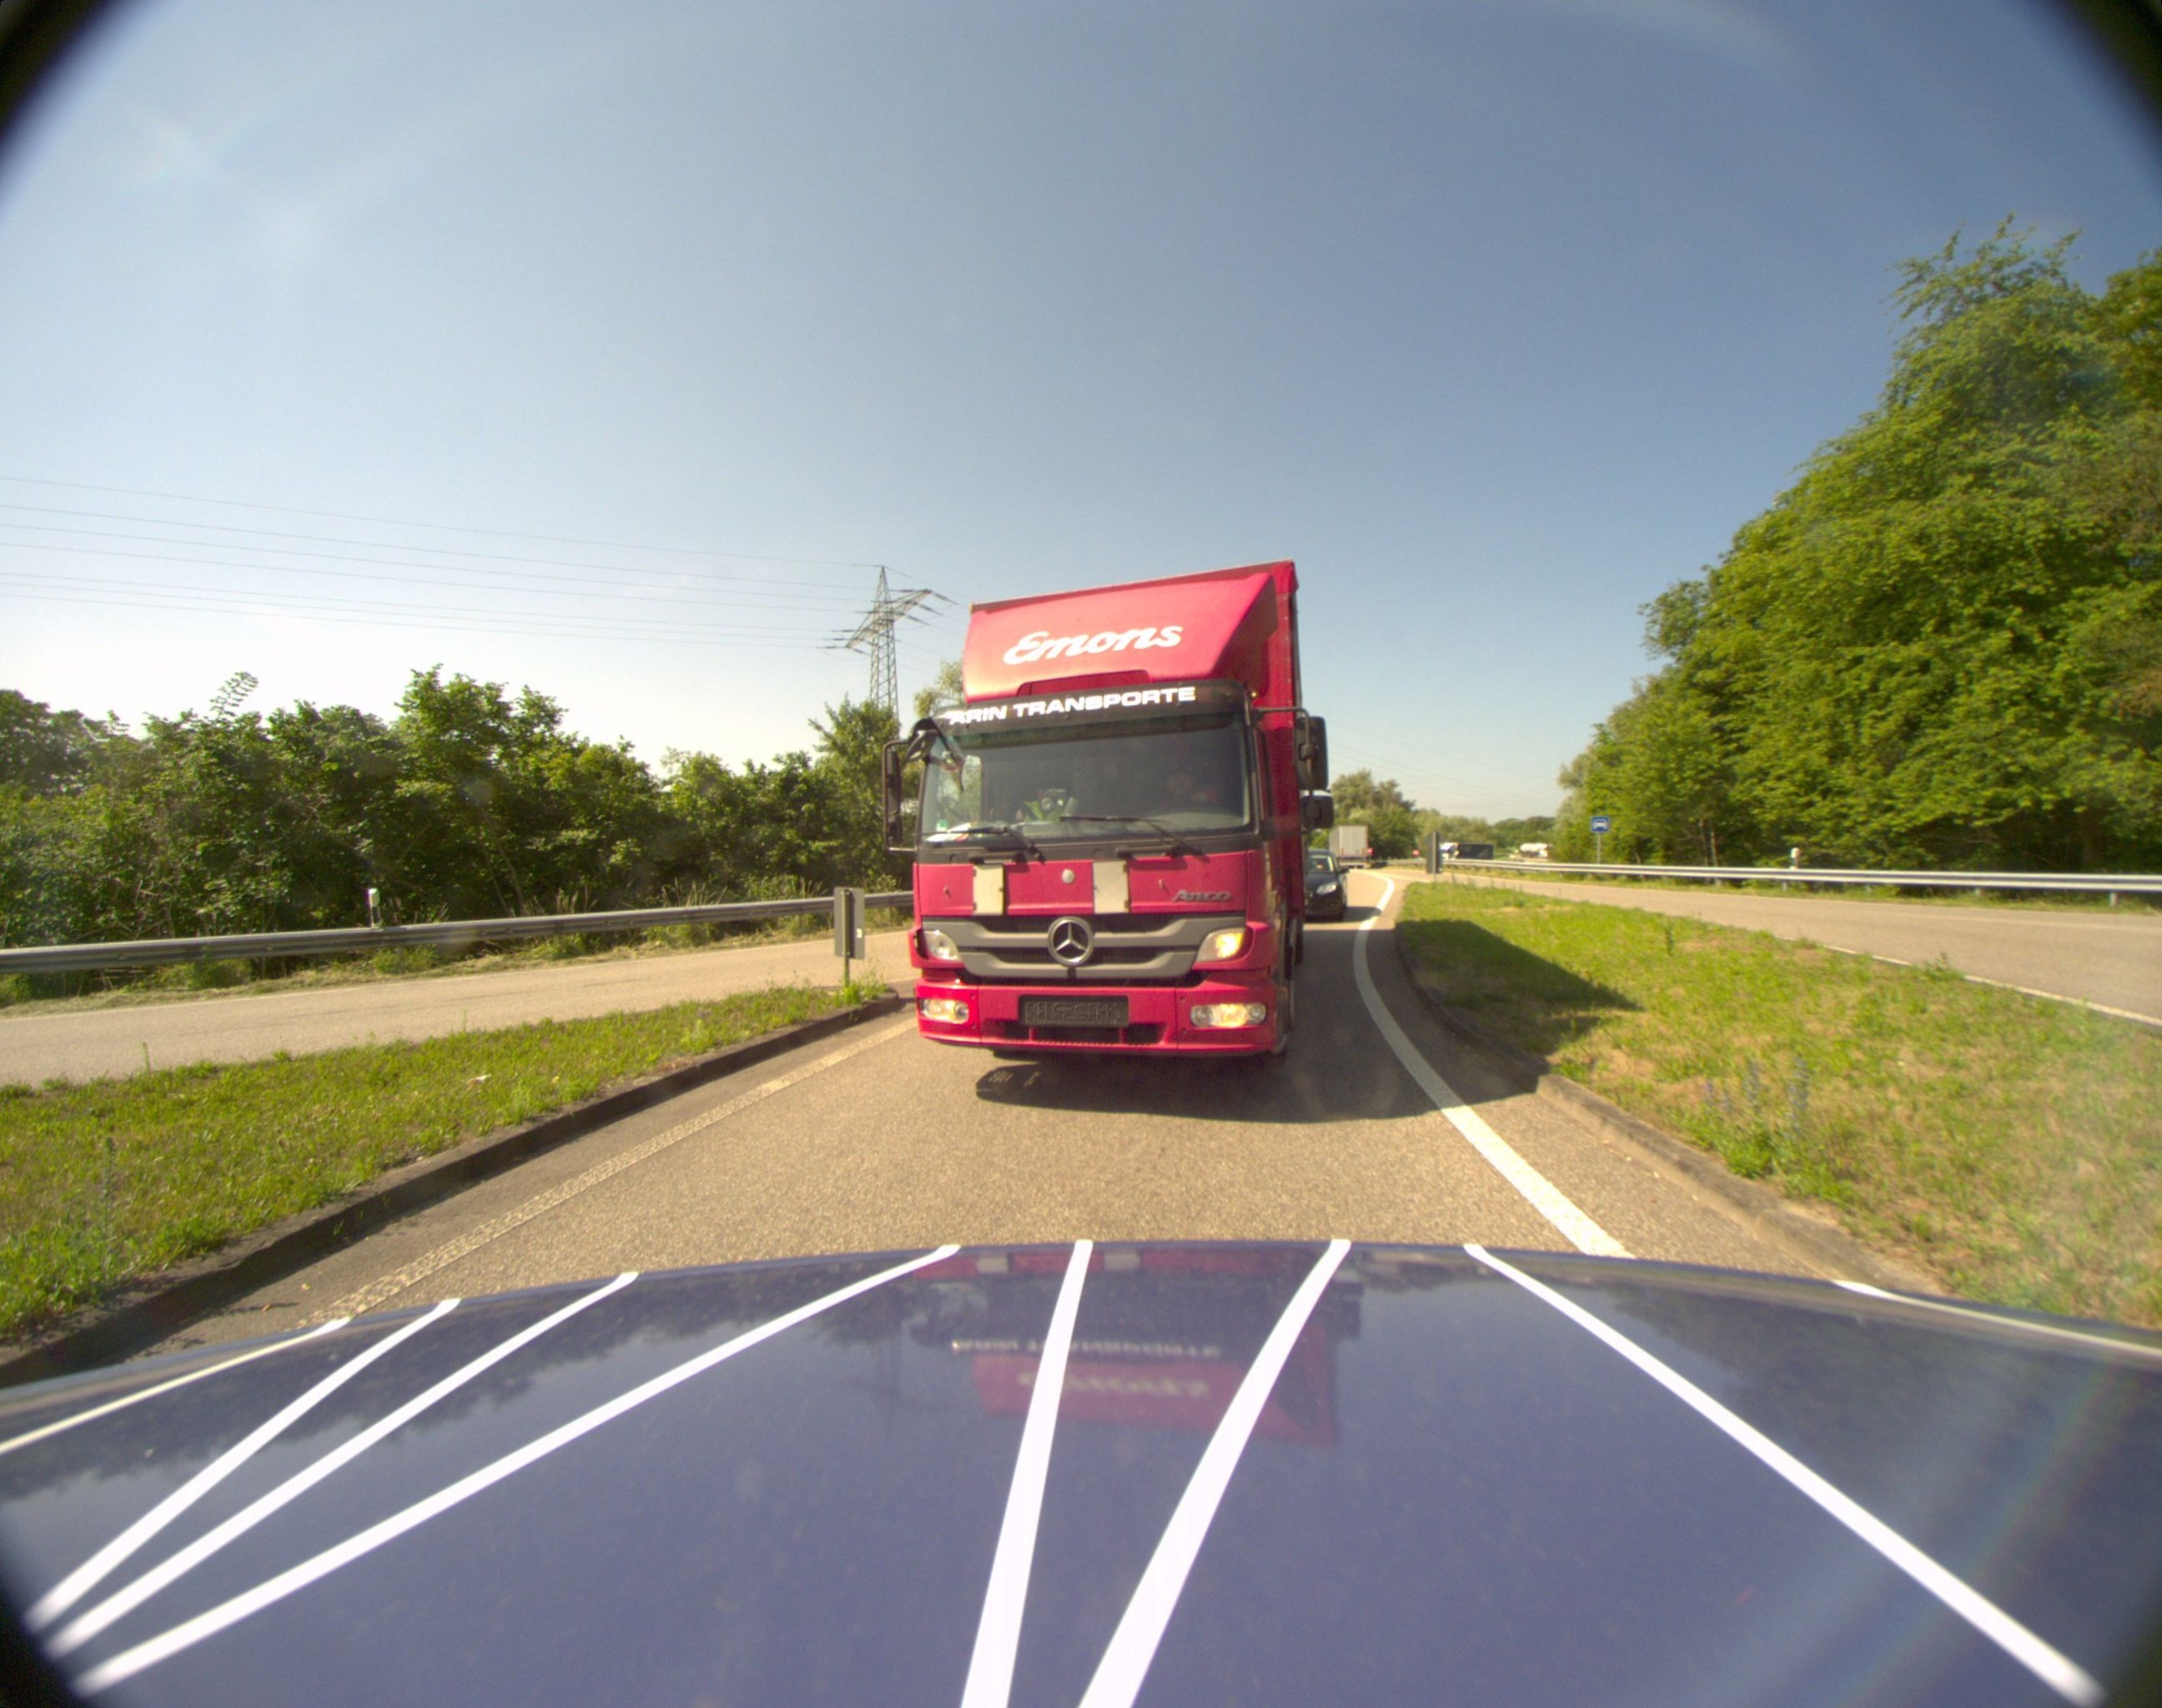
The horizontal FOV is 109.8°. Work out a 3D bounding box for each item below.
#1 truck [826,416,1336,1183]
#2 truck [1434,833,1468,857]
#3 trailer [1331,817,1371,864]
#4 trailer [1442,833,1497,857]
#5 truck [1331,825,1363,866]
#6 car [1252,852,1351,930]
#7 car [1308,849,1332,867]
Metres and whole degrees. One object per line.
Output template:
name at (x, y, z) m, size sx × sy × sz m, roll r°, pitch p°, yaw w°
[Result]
truck at (1.213, -0.276, 8.432) m, size 2.686 × 3.640 × 9.273 m, roll -1°, pitch 0°, yaw 17°
truck at (66.711, -1.594, 136.993) m, size 5.743 × 4.214 × 2.932 m, roll 0°, pitch 1°, yaw -35°
trailer at (26.606, -1.298, 75.271) m, size 2.953 × 4.243 × 13.997 m, roll 1°, pitch 1°, yaw 17°
trailer at (72.188, -1.578, 140.974) m, size 14.007 × 4.216 × 2.922 m, roll 0°, pitch 2°, yaw -36°
truck at (28.568, -0.895, 81.803) m, size 2.934 × 4.222 × 5.739 m, roll 1°, pitch 1°, yaw 16°
car at (4.860, 0.706, 16.371) m, size 1.785 × 1.406 × 4.005 m, roll -1°, pitch 0°, yaw 20°
car at (19.788, 0.278, 62.982) m, size 1.785 × 1.377 × 4.383 m, roll -2°, pitch 0°, yaw 17°
